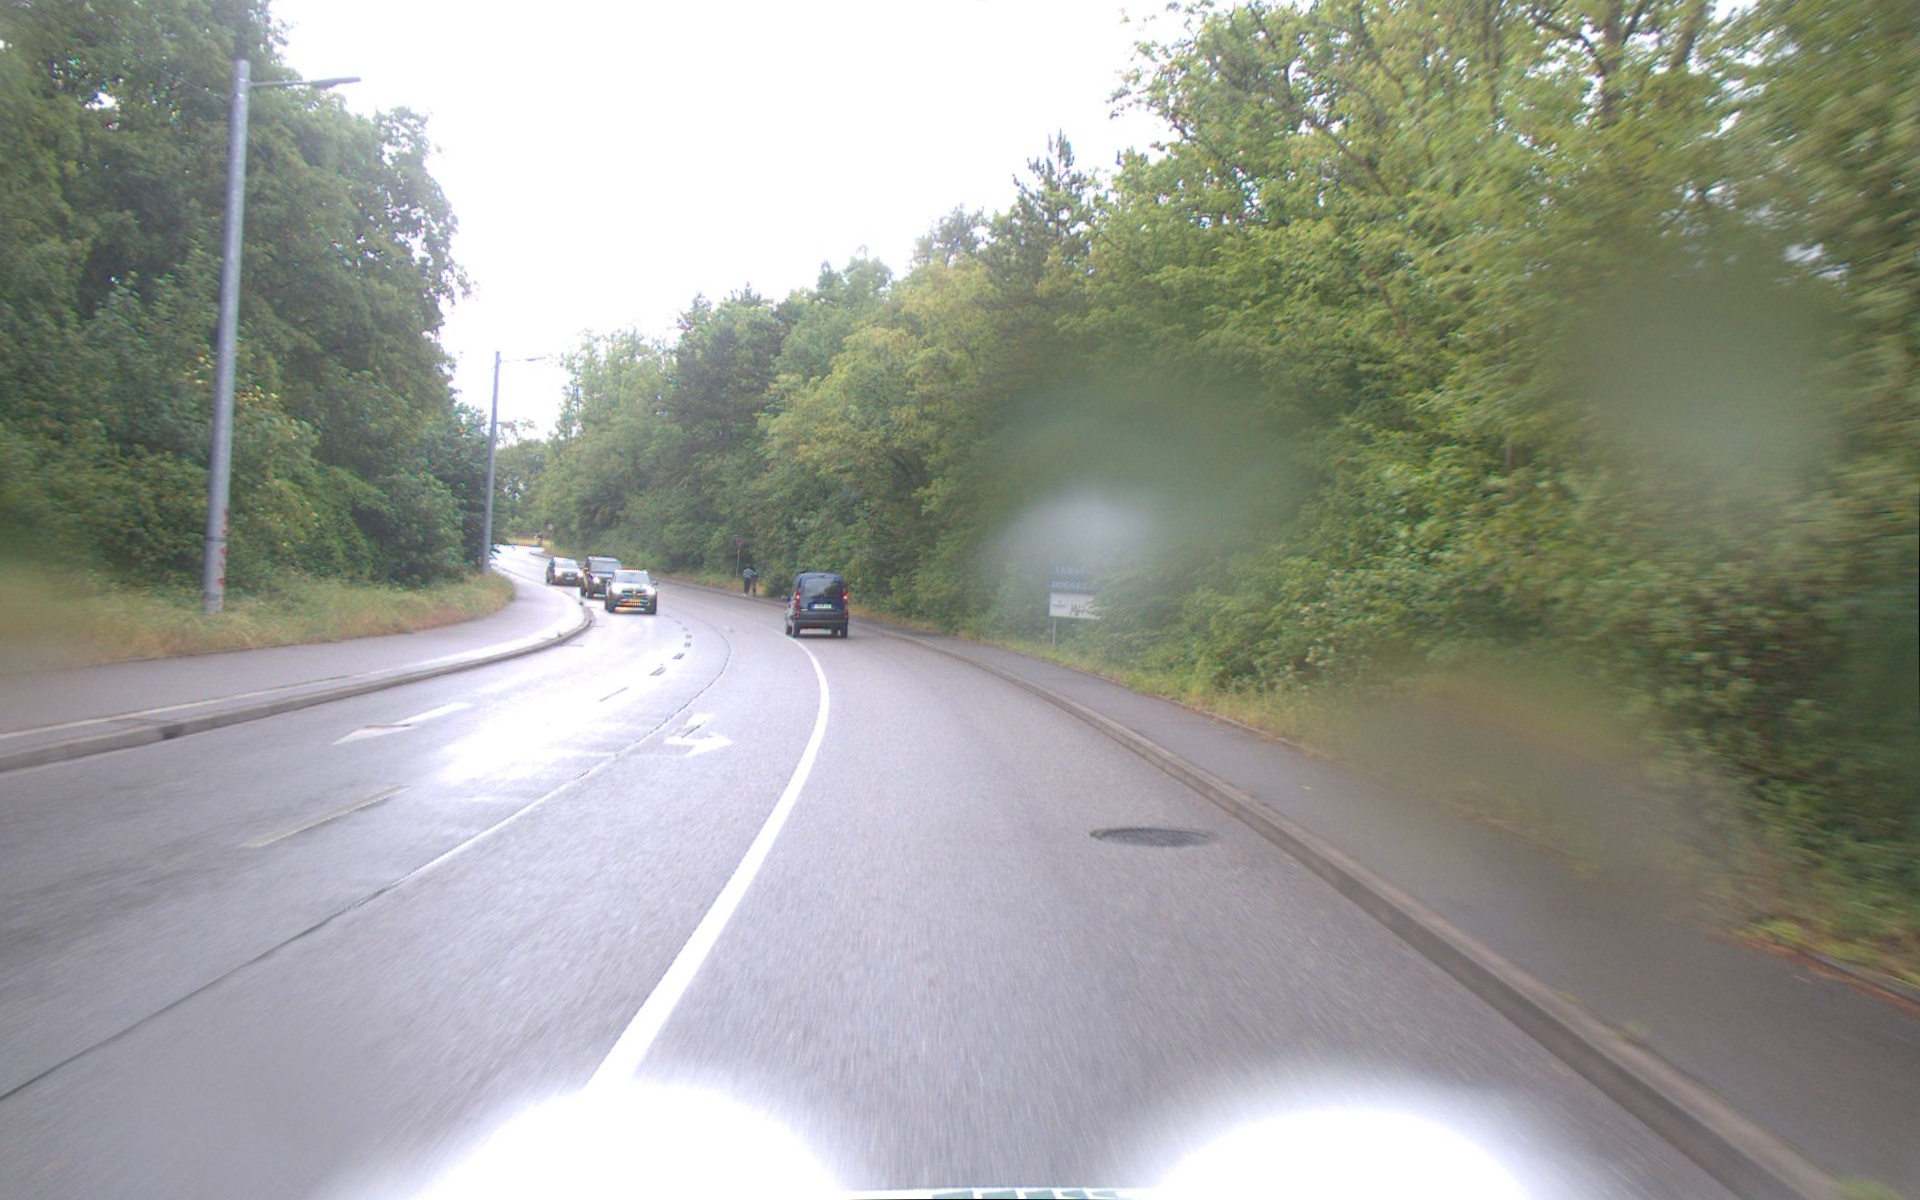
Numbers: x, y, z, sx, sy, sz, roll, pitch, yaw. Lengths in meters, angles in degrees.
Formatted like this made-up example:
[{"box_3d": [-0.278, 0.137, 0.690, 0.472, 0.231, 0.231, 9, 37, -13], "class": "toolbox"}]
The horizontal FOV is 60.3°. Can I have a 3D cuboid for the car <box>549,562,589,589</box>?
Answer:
[{"box_3d": [-22.685, -1.426, 95.813, 1.800, 1.465, 3.977, 2, 0, -20], "class": "car"}]

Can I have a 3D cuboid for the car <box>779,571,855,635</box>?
[{"box_3d": [-4.270, 0.052, 48.941, 1.795, 1.825, 3.989, 0, 1, -11], "class": "car"}]

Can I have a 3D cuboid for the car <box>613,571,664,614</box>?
[{"box_3d": [-12.961, -0.320, 66.515, 1.778, 1.622, 4.502, 2, 1, -14], "class": "car"}]

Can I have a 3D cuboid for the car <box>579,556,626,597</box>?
[{"box_3d": [-17.367, -1.104, 80.248, 1.798, 1.875, 4.688, 0, 0, -17], "class": "car"}]
